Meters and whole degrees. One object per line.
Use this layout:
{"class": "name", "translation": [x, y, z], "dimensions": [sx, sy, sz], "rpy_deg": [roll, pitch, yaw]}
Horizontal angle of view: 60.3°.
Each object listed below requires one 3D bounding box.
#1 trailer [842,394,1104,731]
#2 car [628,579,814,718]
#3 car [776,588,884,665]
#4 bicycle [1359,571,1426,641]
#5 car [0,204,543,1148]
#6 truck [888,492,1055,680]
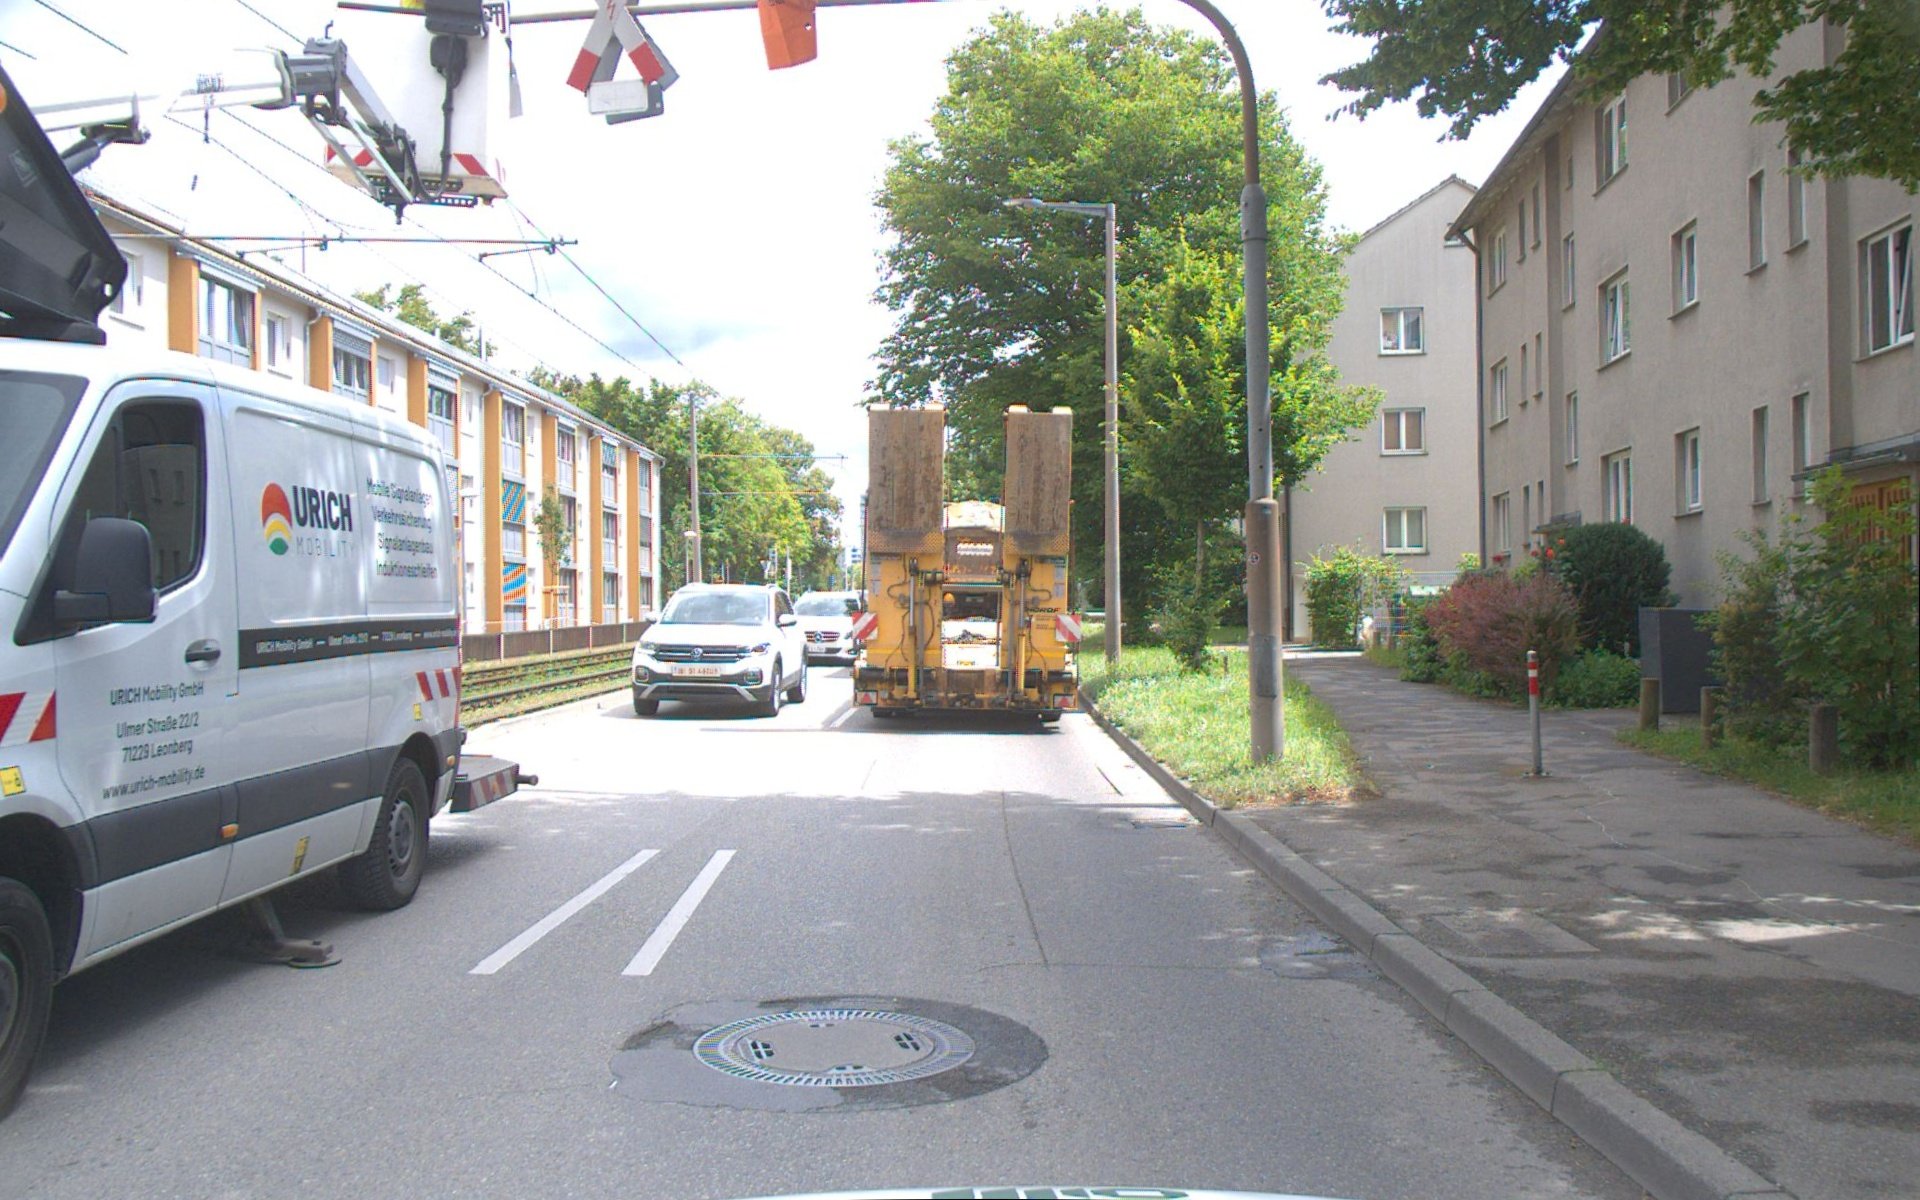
{"class": "trailer", "translation": [0.179, -0.433, 23.371], "dimensions": [2.765, 3.585, 11.052], "rpy_deg": [1, 0, 0]}
{"class": "car", "translation": [-2.929, 0.557, 21.045], "dimensions": [1.682, 1.579, 3.918], "rpy_deg": [1, 0, 1]}
{"class": "car", "translation": [-2.701, 0.510, 35.314], "dimensions": [1.840, 1.507, 4.529], "rpy_deg": [1, 0, 1]}
{"class": "bicycle", "translation": [10.111, 0.140, 38.717], "dimensions": [1.319, 1.601, 1.072], "rpy_deg": [-1, 0, 3]}
{"class": "car", "translation": [-3.480, 0.179, 6.667], "dimensions": [1.952, 2.473, 6.322], "rpy_deg": [1, 0, 0]}
{"class": "truck", "translation": [0.286, -0.277, 32.719], "dimensions": [2.857, 3.222, 7.681], "rpy_deg": [1, 0, 1]}
